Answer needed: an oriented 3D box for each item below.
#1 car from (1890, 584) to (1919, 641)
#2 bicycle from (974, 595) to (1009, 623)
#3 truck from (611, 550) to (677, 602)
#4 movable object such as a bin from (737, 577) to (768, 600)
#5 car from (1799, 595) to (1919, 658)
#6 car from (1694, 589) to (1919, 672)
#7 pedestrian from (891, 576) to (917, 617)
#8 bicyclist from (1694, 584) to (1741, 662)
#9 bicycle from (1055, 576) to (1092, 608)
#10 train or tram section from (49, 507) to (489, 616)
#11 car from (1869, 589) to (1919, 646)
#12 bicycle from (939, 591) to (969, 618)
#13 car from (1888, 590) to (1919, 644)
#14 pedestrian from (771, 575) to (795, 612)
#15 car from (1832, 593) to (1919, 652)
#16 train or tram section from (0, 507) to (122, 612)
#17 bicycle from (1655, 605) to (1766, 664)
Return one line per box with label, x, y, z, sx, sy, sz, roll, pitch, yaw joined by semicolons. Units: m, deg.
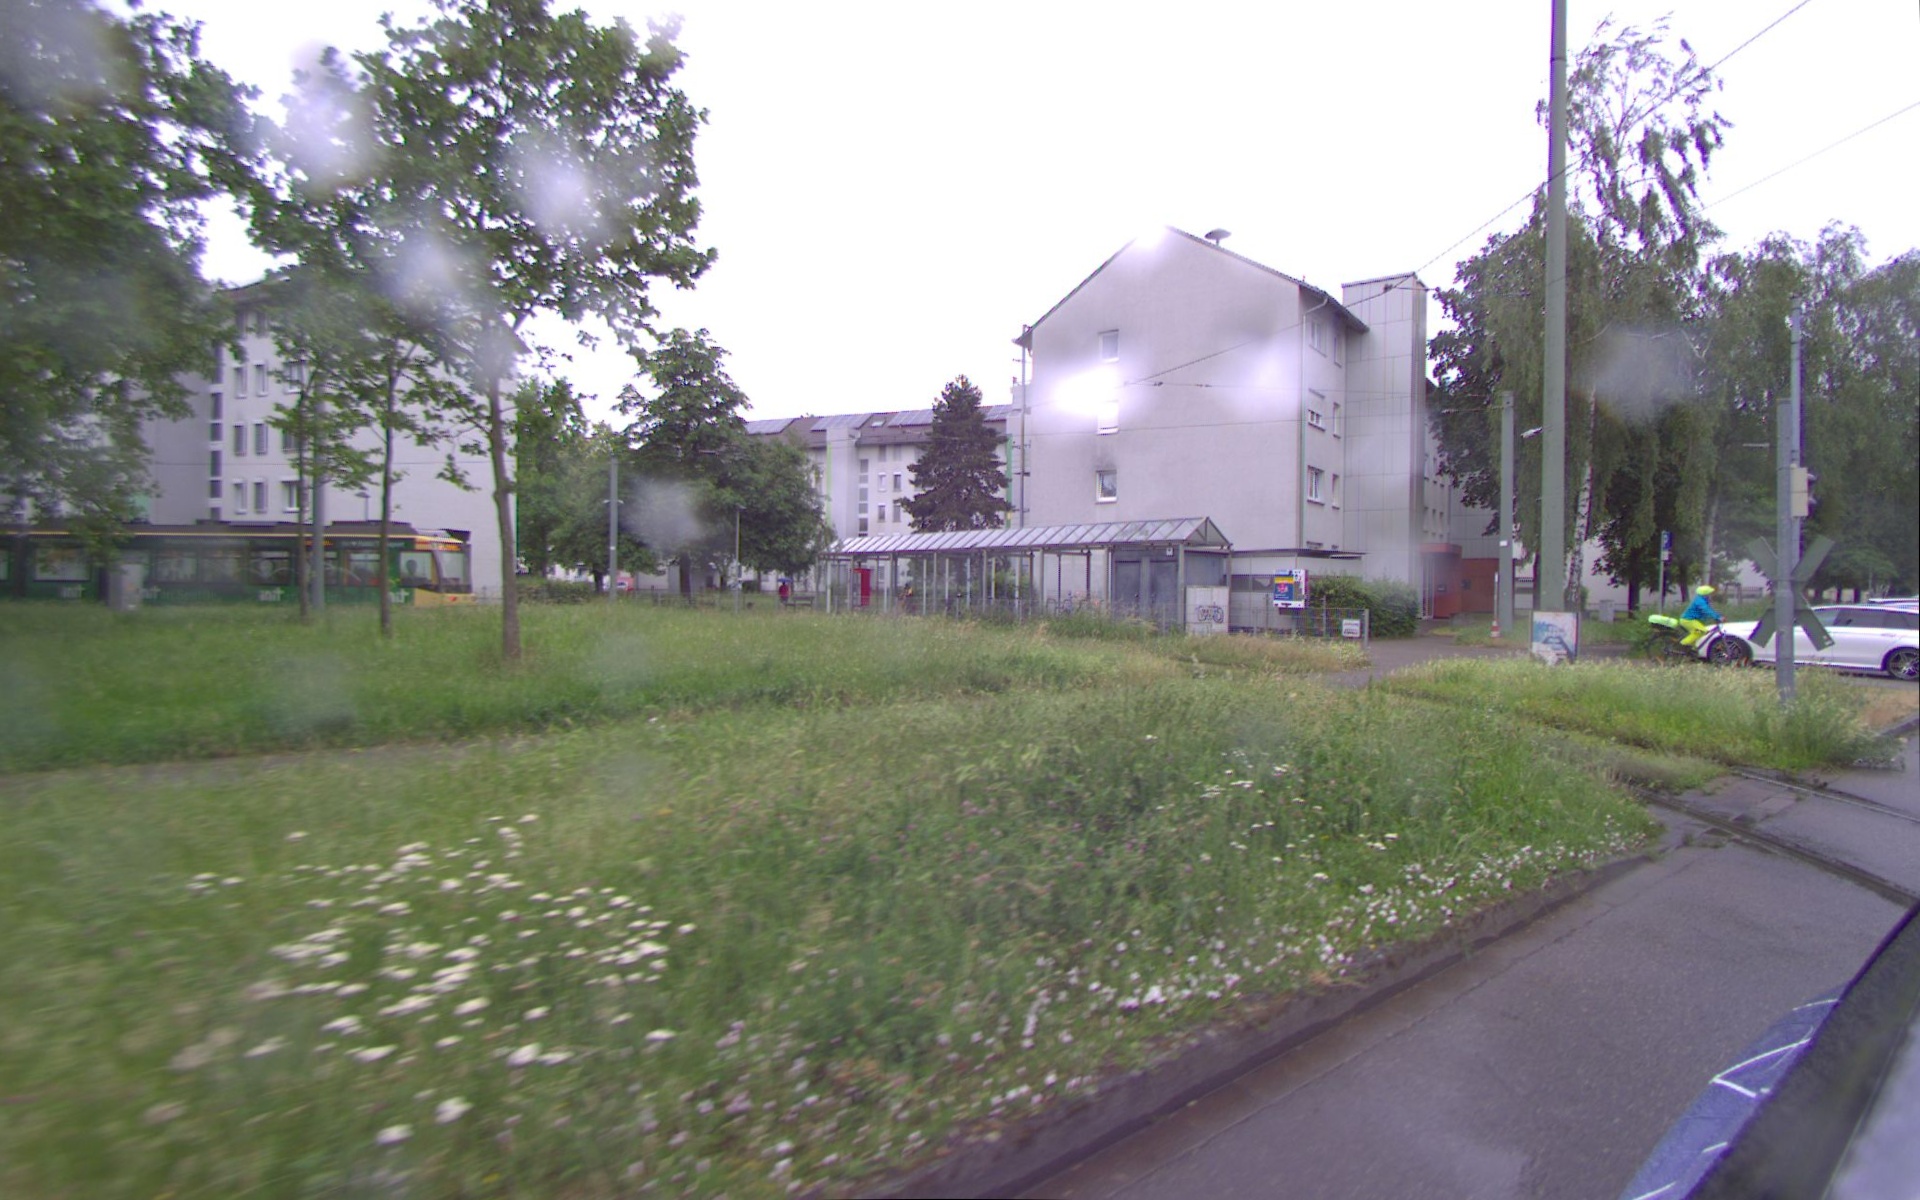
car;36.738;0.415;36.599;1.693;2.088;4.435;0;-1;-42
bicycle;1.098;0.308;34.913;1.215;0.959;0.377;0;-1;-37
truck;-23.268;-1.701;74.261;3.138;3.518;7.154;0;-1;-30
movable object such as a bin;-19.175;-1.018;93.439;1.883;2.039;2.219;-1;-1;24
car;23.438;0.626;24.911;1.691;1.505;3.996;0;-1;-38
car;18.678;0.611;21.304;1.964;1.476;4.839;0;2;-38
pedestrian;-2.202;-0.120;40.017;0.776;1.593;0.635;0;-2;-41
bicyclist;15.355;0.458;20.539;0.693;1.536;0.716;0;-1;32
bicycle;3.572;-0.251;31.712;1.215;0.968;0.377;0;-1;-37
train or tram section;-24.281;-1.329;35.757;14.479;3.636;2.710;0;-1;6
car;32.838;0.540;33.062;1.691;1.870;4.441;0;-1;-38
bicycle;-0.204;0.156;36.727;0.415;0.959;1.291;-2;-1;34
car;34.756;0.542;34.421;1.691;1.870;4.441;0;-1;-38
pedestrian;-9.163;-0.329;52.285;1.165;1.908;1.056;-1;-1;-12
car;27.193;0.610;28.286;1.691;1.606;3.996;0;-1;-38
train or tram section;-38.696;-1.450;37.259;14.479;3.636;2.710;0;-1;6
bicycle;15.240;0.686;20.605;1.740;1.144;0.720;0;-1;32
